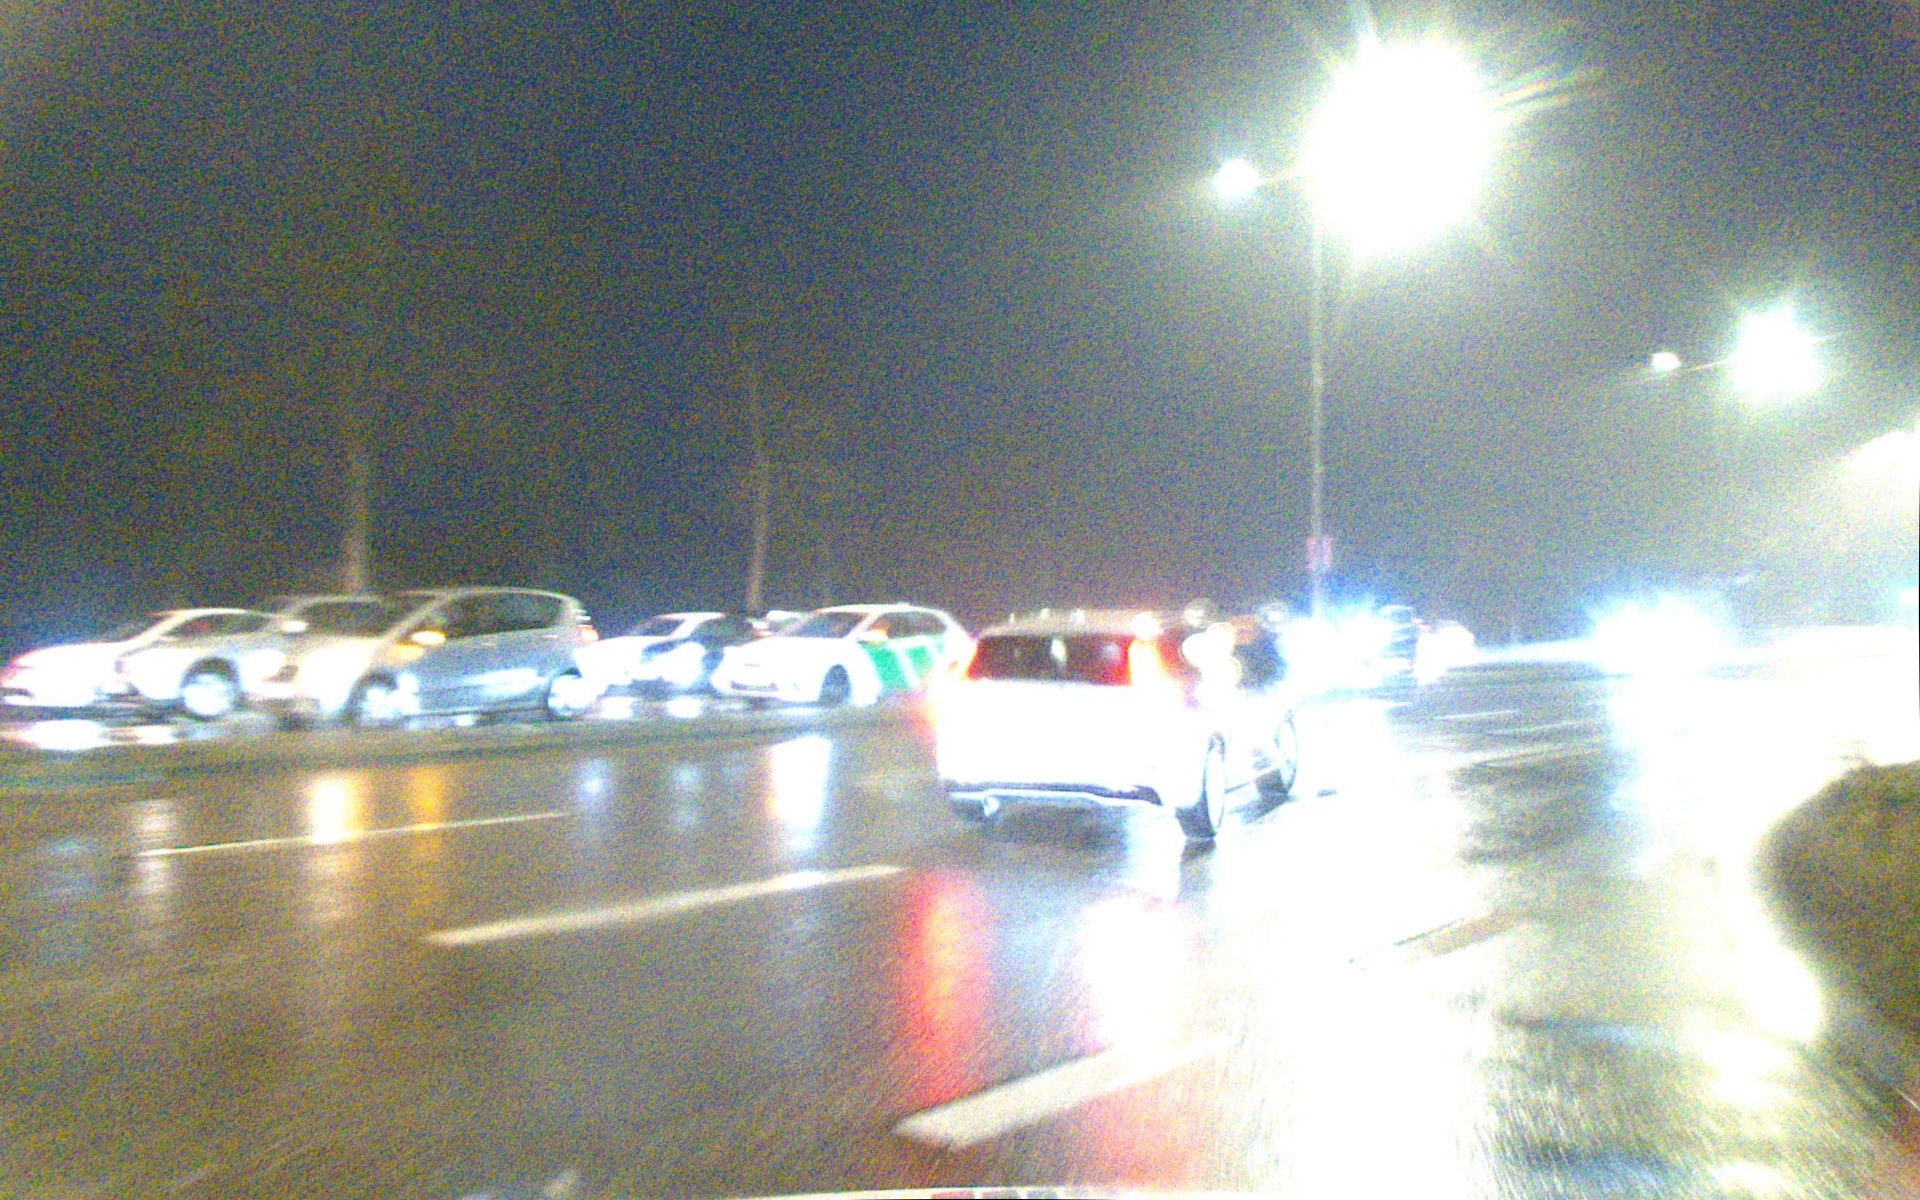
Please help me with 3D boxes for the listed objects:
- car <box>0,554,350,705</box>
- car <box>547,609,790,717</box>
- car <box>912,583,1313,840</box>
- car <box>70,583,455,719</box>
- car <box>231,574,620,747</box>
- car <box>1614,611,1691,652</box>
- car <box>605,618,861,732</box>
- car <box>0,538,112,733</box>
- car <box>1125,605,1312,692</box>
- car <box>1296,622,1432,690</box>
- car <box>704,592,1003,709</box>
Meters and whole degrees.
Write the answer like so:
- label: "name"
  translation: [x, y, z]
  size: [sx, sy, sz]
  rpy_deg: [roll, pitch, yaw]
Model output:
- label: "car"
  translation: [-10.919, 0.443, 22.945]
  size: [1.732, 1.880, 4.263]
  rpy_deg: [2, -1, 39]
- label: "car"
  translation: [-5.225, 1.146, 30.132]
  size: [1.770, 1.831, 4.229]
  rpy_deg: [0, -2, 39]
- label: "car"
  translation: [1.310, 0.689, 12.036]
  size: [1.760, 1.477, 4.268]
  rpy_deg: [1, -1, 21]
- label: "car"
  translation: [-8.510, 0.645, 20.421]
  size: [1.688, 1.513, 4.031]
  rpy_deg: [-1, -3, 43]
- label: "car"
  translation: [-5.974, 0.627, 18.812]
  size: [1.733, 1.755, 3.879]
  rpy_deg: [0, 0, 41]
- label: "car"
  translation: [29.416, 1.351, 70.172]
  size: [1.854, 1.557, 4.409]
  rpy_deg: [2, -1, 39]
- label: "car"
  translation: [-3.602, 1.203, 26.804]
  size: [1.770, 1.695, 3.956]
  rpy_deg: [0, -2, 39]
- label: "car"
  translation: [-15.367, 0.408, 23.506]
  size: [5.545, 2.757, 2.228]
  rpy_deg: [3, -1, -36]
- label: "car"
  translation: [5.162, 0.934, 32.586]
  size: [1.784, 1.605, 4.285]
  rpy_deg: [-1, -2, 38]
- label: "car"
  translation: [11.012, 1.541, 44.884]
  size: [1.771, 1.695, 4.463]
  rpy_deg: [2, -1, 40]
- label: "car"
  translation: [-1.433, 0.697, 23.761]
  size: [1.749, 1.510, 4.388]
  rpy_deg: [-2, -2, 40]
